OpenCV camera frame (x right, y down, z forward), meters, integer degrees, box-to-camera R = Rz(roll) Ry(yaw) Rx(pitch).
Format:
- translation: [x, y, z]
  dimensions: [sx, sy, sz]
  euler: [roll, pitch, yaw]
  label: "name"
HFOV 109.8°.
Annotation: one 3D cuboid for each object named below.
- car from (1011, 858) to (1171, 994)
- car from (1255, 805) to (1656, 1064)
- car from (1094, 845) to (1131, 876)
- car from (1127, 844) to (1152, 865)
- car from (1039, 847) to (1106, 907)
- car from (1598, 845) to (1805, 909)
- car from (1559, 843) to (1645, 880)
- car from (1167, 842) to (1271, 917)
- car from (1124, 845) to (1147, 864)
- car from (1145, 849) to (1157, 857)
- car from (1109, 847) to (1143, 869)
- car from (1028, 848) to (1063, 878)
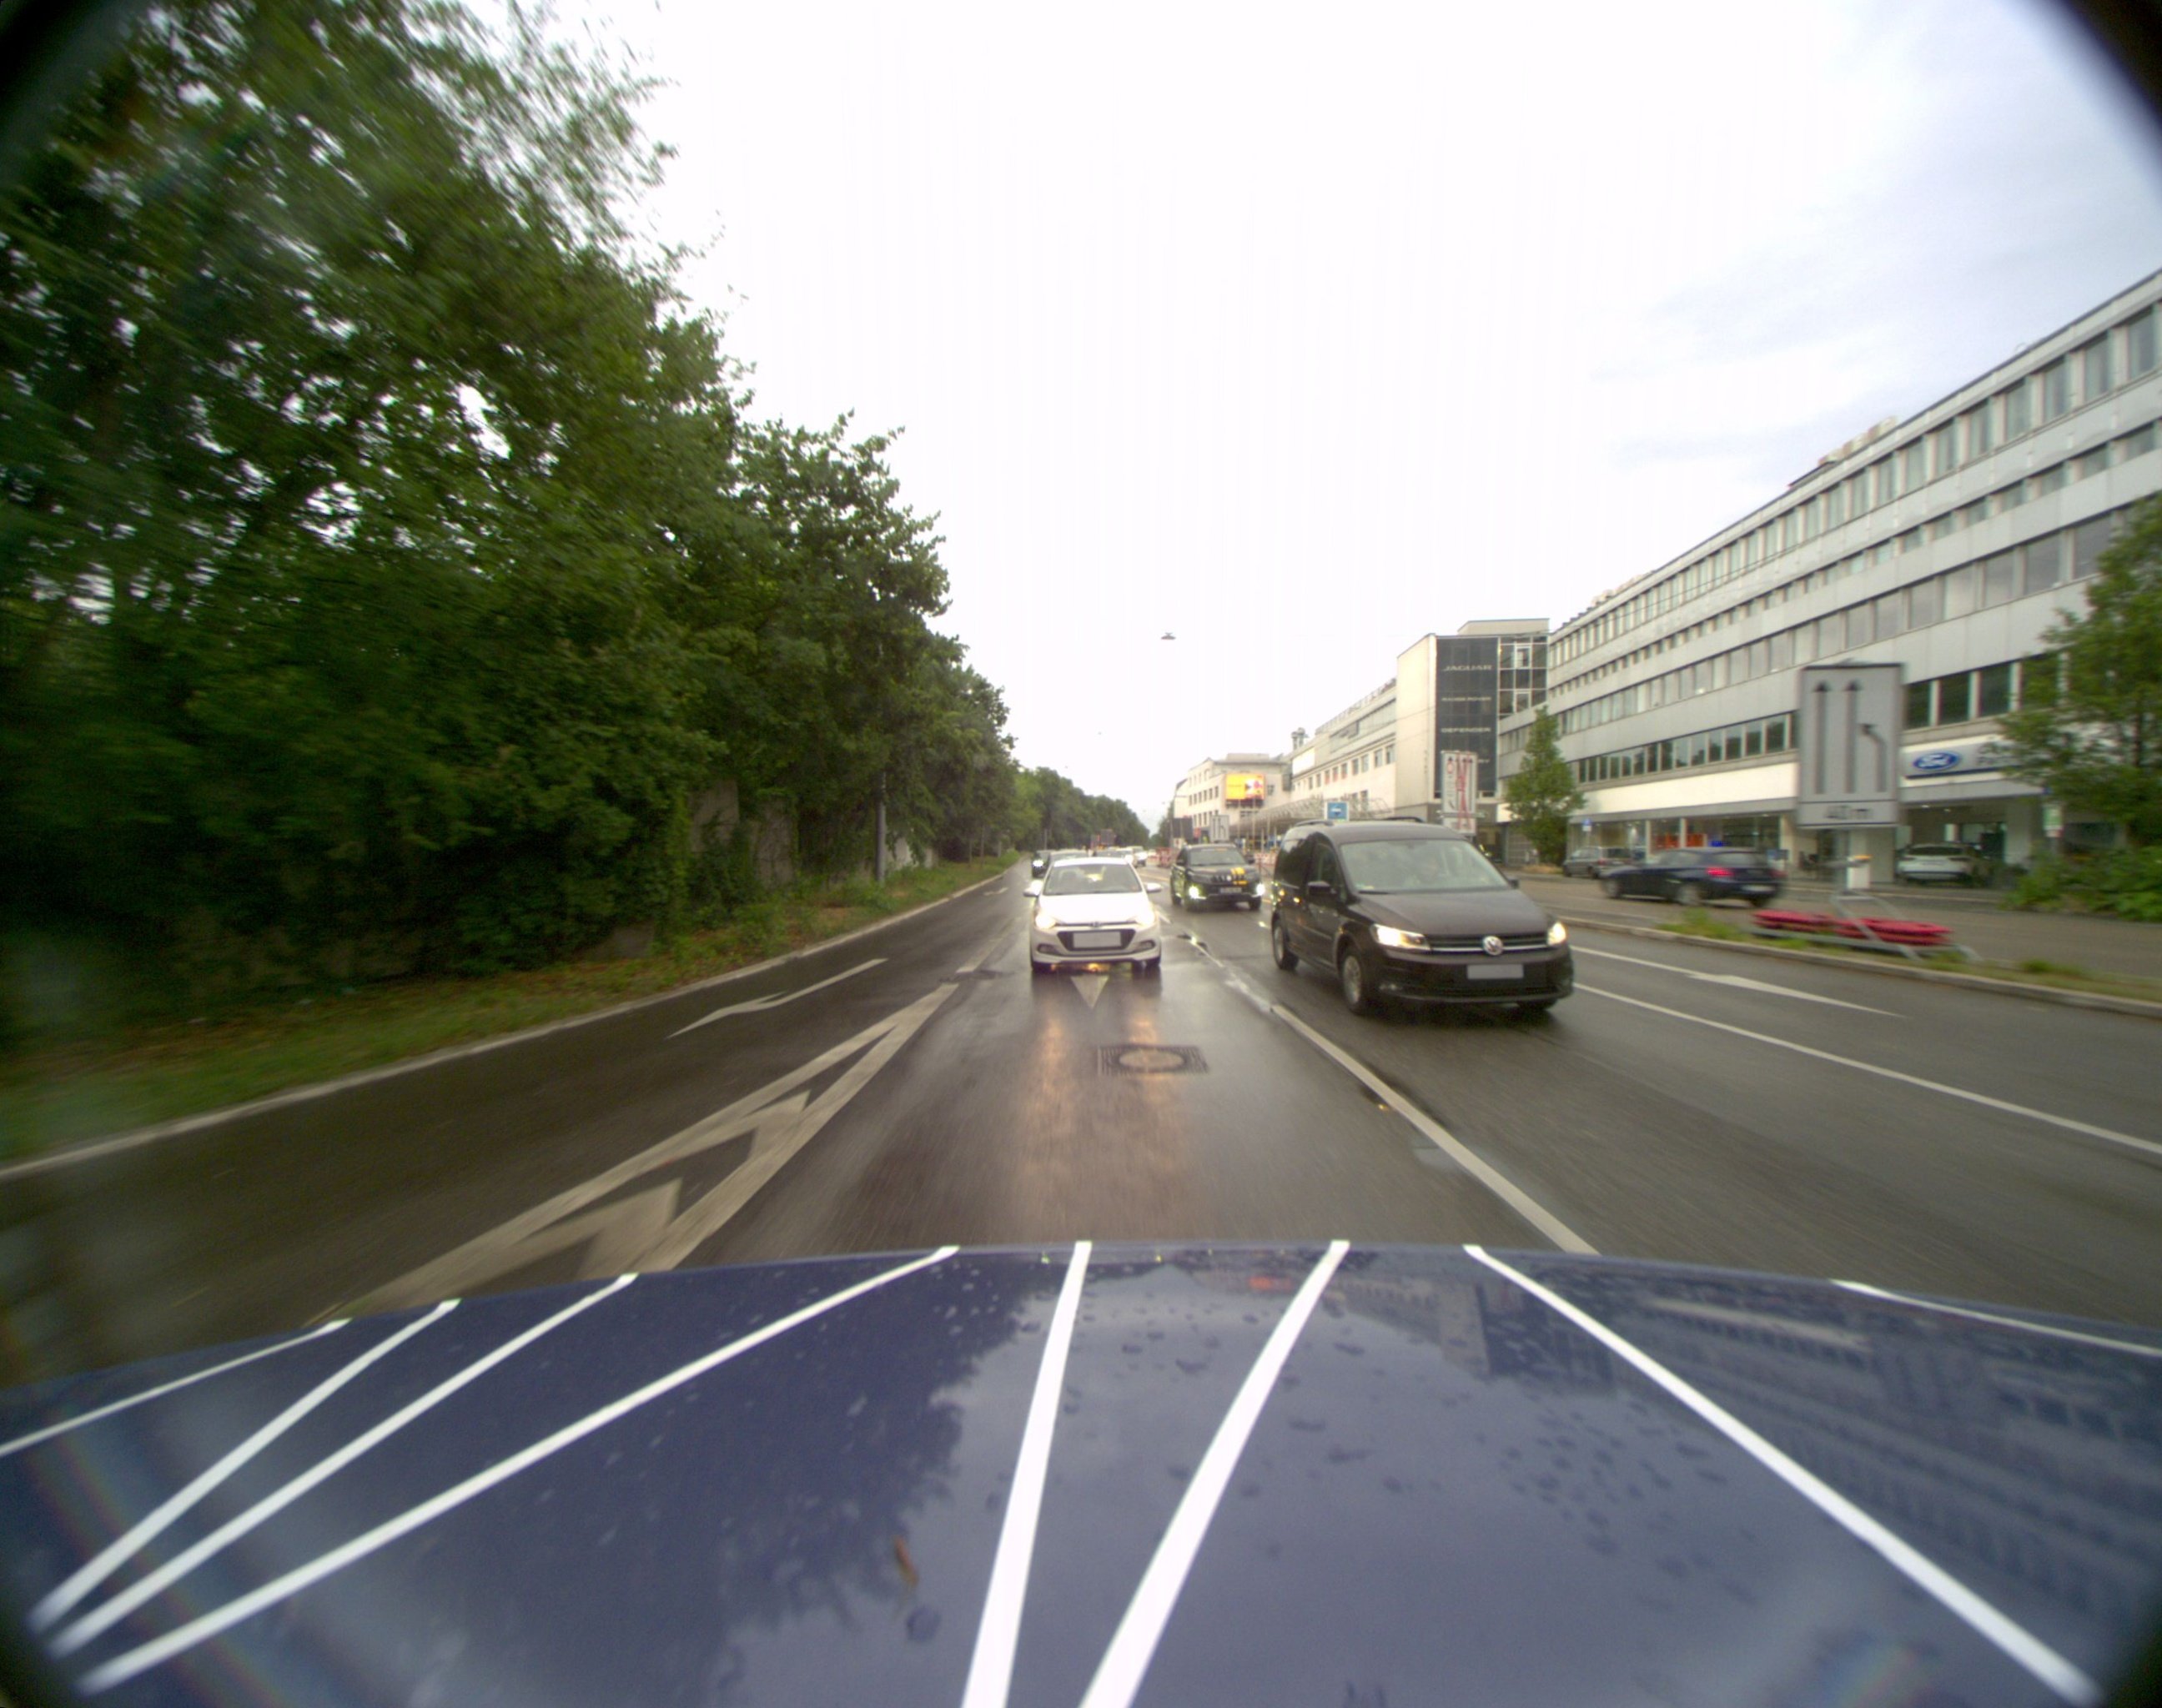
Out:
- translation: [0.146, 0.864, 11.129]
  dimensions: [1.814, 1.444, 4.333]
  euler: [-3, 1, 1]
  label: "car"
- translation: [3.256, 0.572, 7.790]
  dimensions: [1.905, 1.804, 4.430]
  euler: [-3, 1, 1]
  label: "car"
- translation: [1.760, 0.330, 43.743]
  dimensions: [1.814, 1.590, 4.332]
  euler: [-3, 1, -1]
  label: "car"
- translation: [4.777, 0.011, 62.432]
  dimensions: [1.771, 1.628, 4.333]
  euler: [-3, 1, 1]
  label: "car"
- translation: [-0.202, 0.644, 23.735]
  dimensions: [1.814, 1.590, 4.333]
  euler: [-3, 1, 1]
  label: "car"
- translation: [15.148, 0.493, 18.896]
  dimensions: [1.690, 1.411, 4.214]
  euler: [0, 1, 0]
  label: "car"
- translation: [27.812, 0.367, 40.739]
  dimensions: [1.922, 1.805, 4.166]
  euler: [-3, 1, 5]
  label: "car"
- translation: [3.335, 0.541, 19.190]
  dimensions: [1.814, 1.590, 4.333]
  euler: [-3, 1, 1]
  label: "car"
- translation: [4.815, 0.015, 68.088]
  dimensions: [1.771, 1.608, 3.948]
  euler: [-3, 1, 1]
  label: "car"
- translation: [13.389, -0.130, 145.362]
  dimensions: [1.806, 1.523, 3.763]
  euler: [1, 0, -1]
  label: "car"
- translation: [3.344, 0.242, 55.724]
  dimensions: [1.769, 1.407, 4.336]
  euler: [-3, 1, 13]
  label: "car"
- translation: [-2.093, 0.507, 46.124]
  dimensions: [1.814, 1.590, 4.333]
  euler: [-3, 1, 1]
  label: "car"
